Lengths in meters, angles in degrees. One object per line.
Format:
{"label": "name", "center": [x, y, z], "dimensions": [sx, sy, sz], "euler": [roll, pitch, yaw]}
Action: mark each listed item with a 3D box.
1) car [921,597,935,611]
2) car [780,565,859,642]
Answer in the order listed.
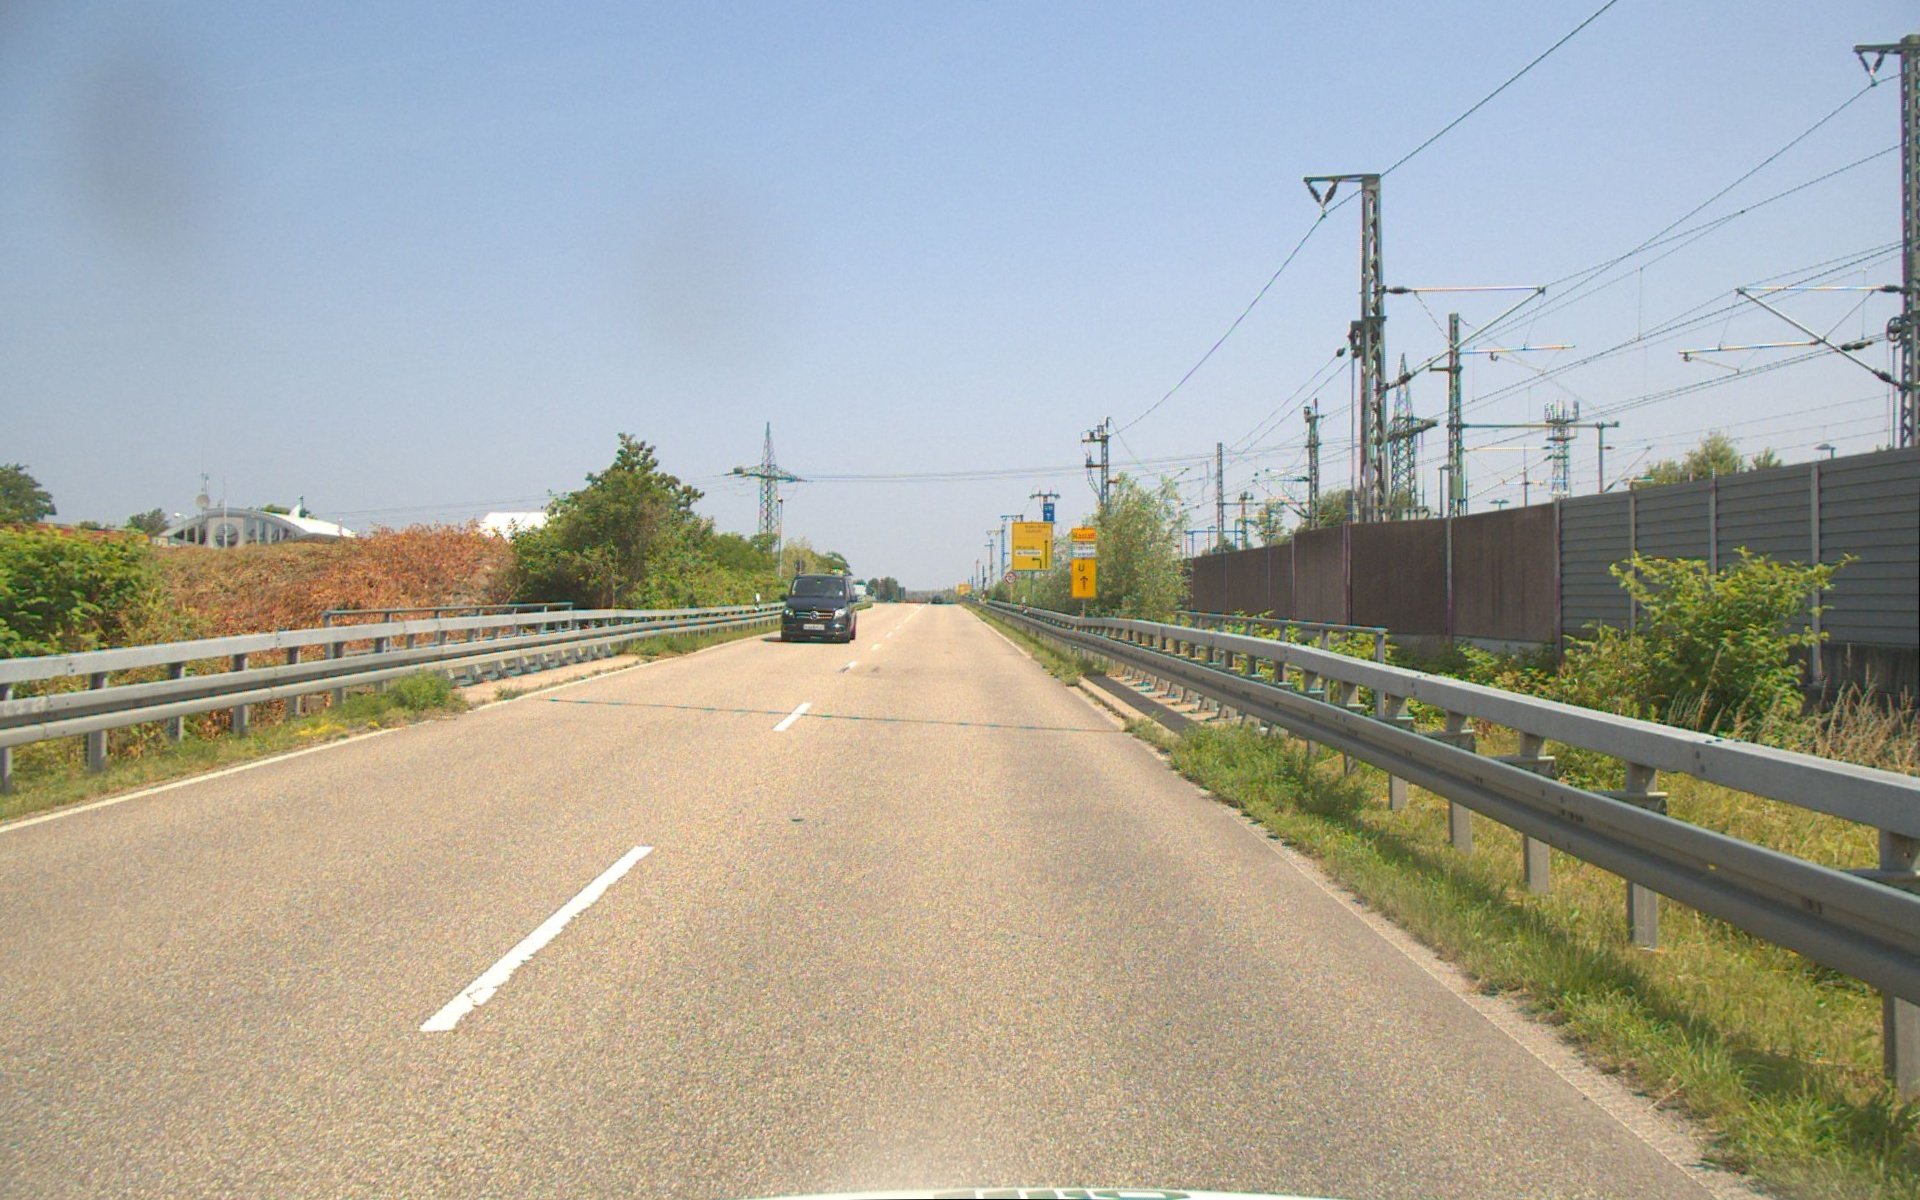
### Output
{"label": "car", "center": [-4.977, 0.634, 256.351], "dimensions": [1.954, 2.049, 3.996], "euler": [1, 0, -5]}
{"label": "car", "center": [-3.941, 0.079, 47.173], "dimensions": [1.854, 2.049, 5.368], "euler": [1, 0, -1]}
